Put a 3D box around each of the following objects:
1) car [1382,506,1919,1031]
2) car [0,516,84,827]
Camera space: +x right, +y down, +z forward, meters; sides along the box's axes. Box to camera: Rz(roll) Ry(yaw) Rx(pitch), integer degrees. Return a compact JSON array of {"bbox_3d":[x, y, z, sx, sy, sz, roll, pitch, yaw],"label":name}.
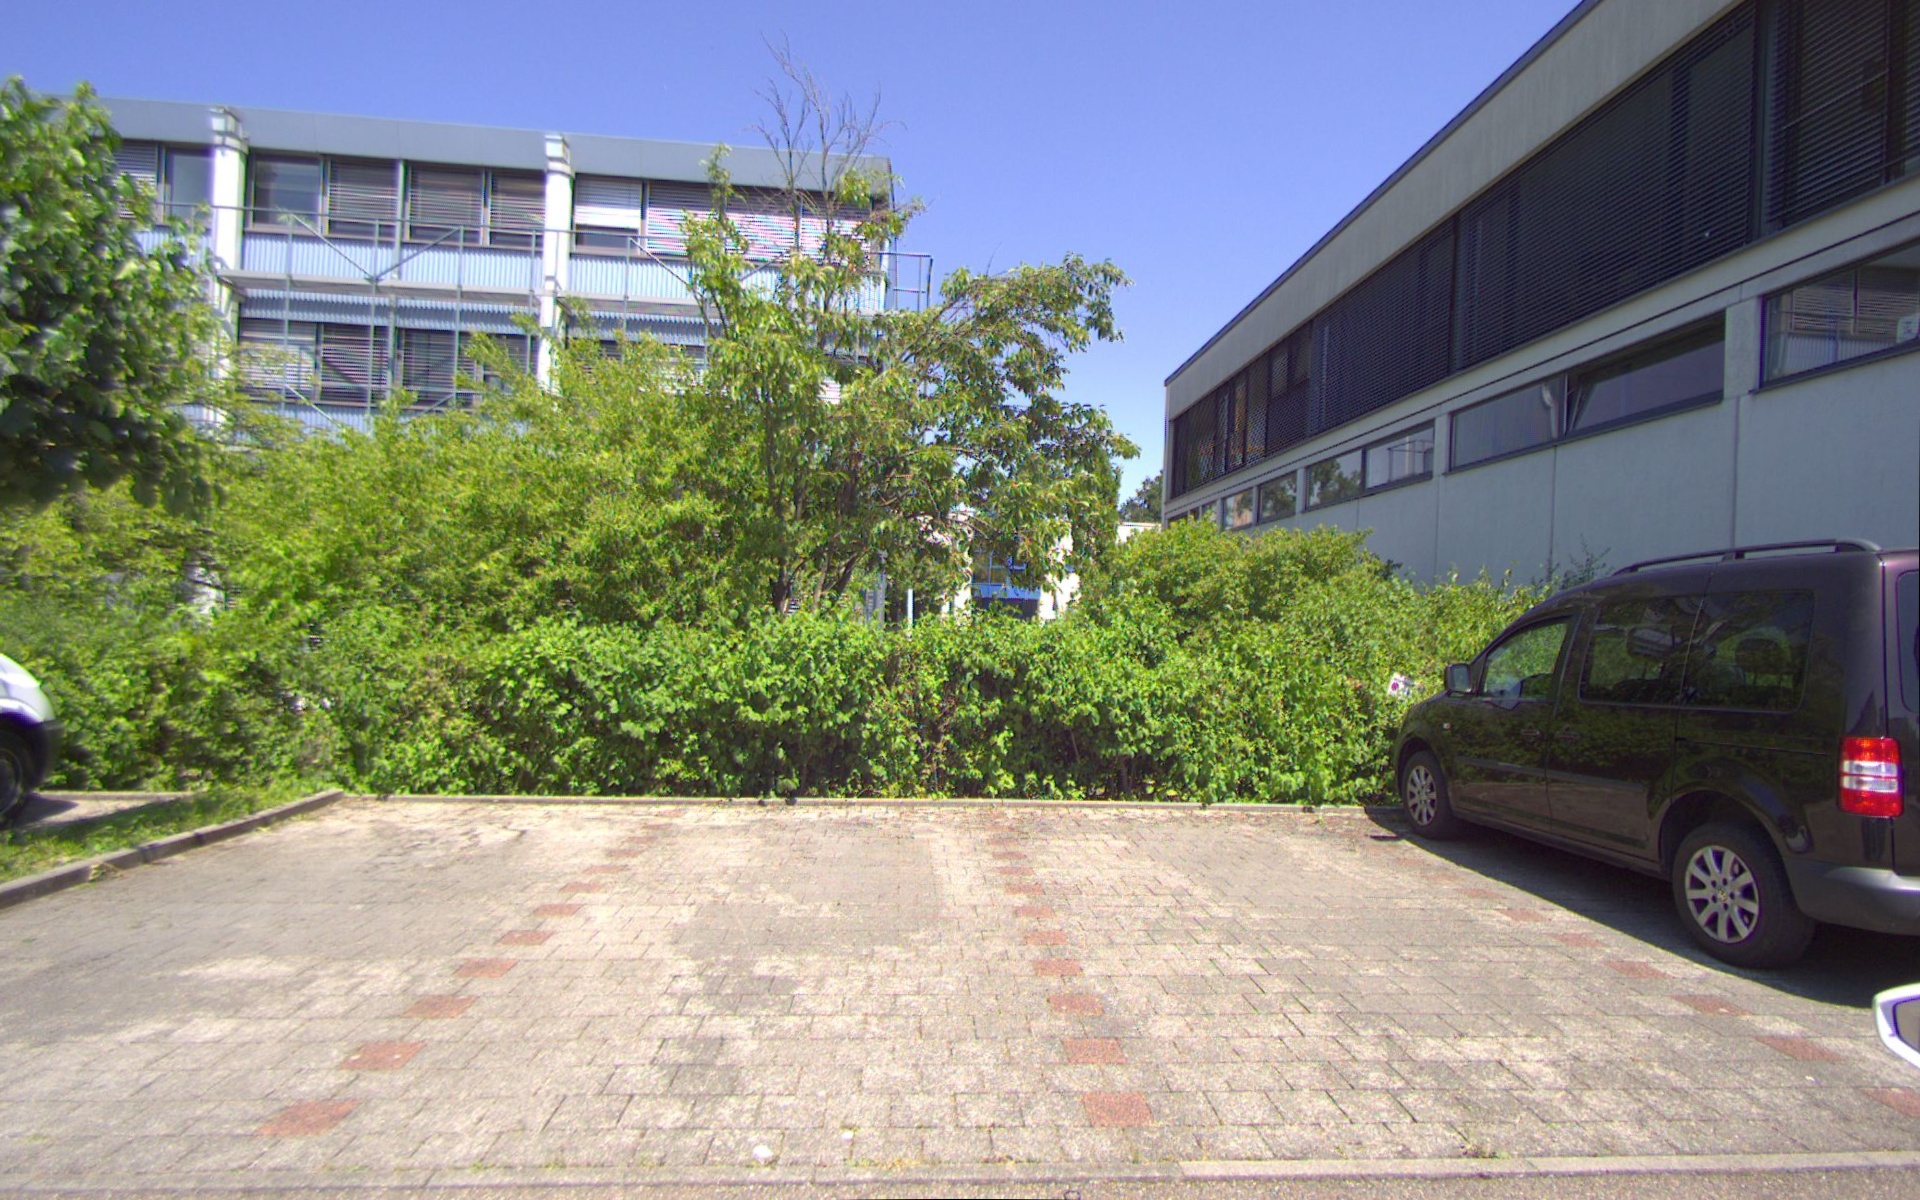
[{"bbox_3d":[4.171,0.660,5.728,1.646,1.909,4.070,1,-1,-3],"label":"car"},{"bbox_3d":[-6.698,0.401,4.405,1.795,1.931,4.732,1,-1,-5],"label":"car"}]
